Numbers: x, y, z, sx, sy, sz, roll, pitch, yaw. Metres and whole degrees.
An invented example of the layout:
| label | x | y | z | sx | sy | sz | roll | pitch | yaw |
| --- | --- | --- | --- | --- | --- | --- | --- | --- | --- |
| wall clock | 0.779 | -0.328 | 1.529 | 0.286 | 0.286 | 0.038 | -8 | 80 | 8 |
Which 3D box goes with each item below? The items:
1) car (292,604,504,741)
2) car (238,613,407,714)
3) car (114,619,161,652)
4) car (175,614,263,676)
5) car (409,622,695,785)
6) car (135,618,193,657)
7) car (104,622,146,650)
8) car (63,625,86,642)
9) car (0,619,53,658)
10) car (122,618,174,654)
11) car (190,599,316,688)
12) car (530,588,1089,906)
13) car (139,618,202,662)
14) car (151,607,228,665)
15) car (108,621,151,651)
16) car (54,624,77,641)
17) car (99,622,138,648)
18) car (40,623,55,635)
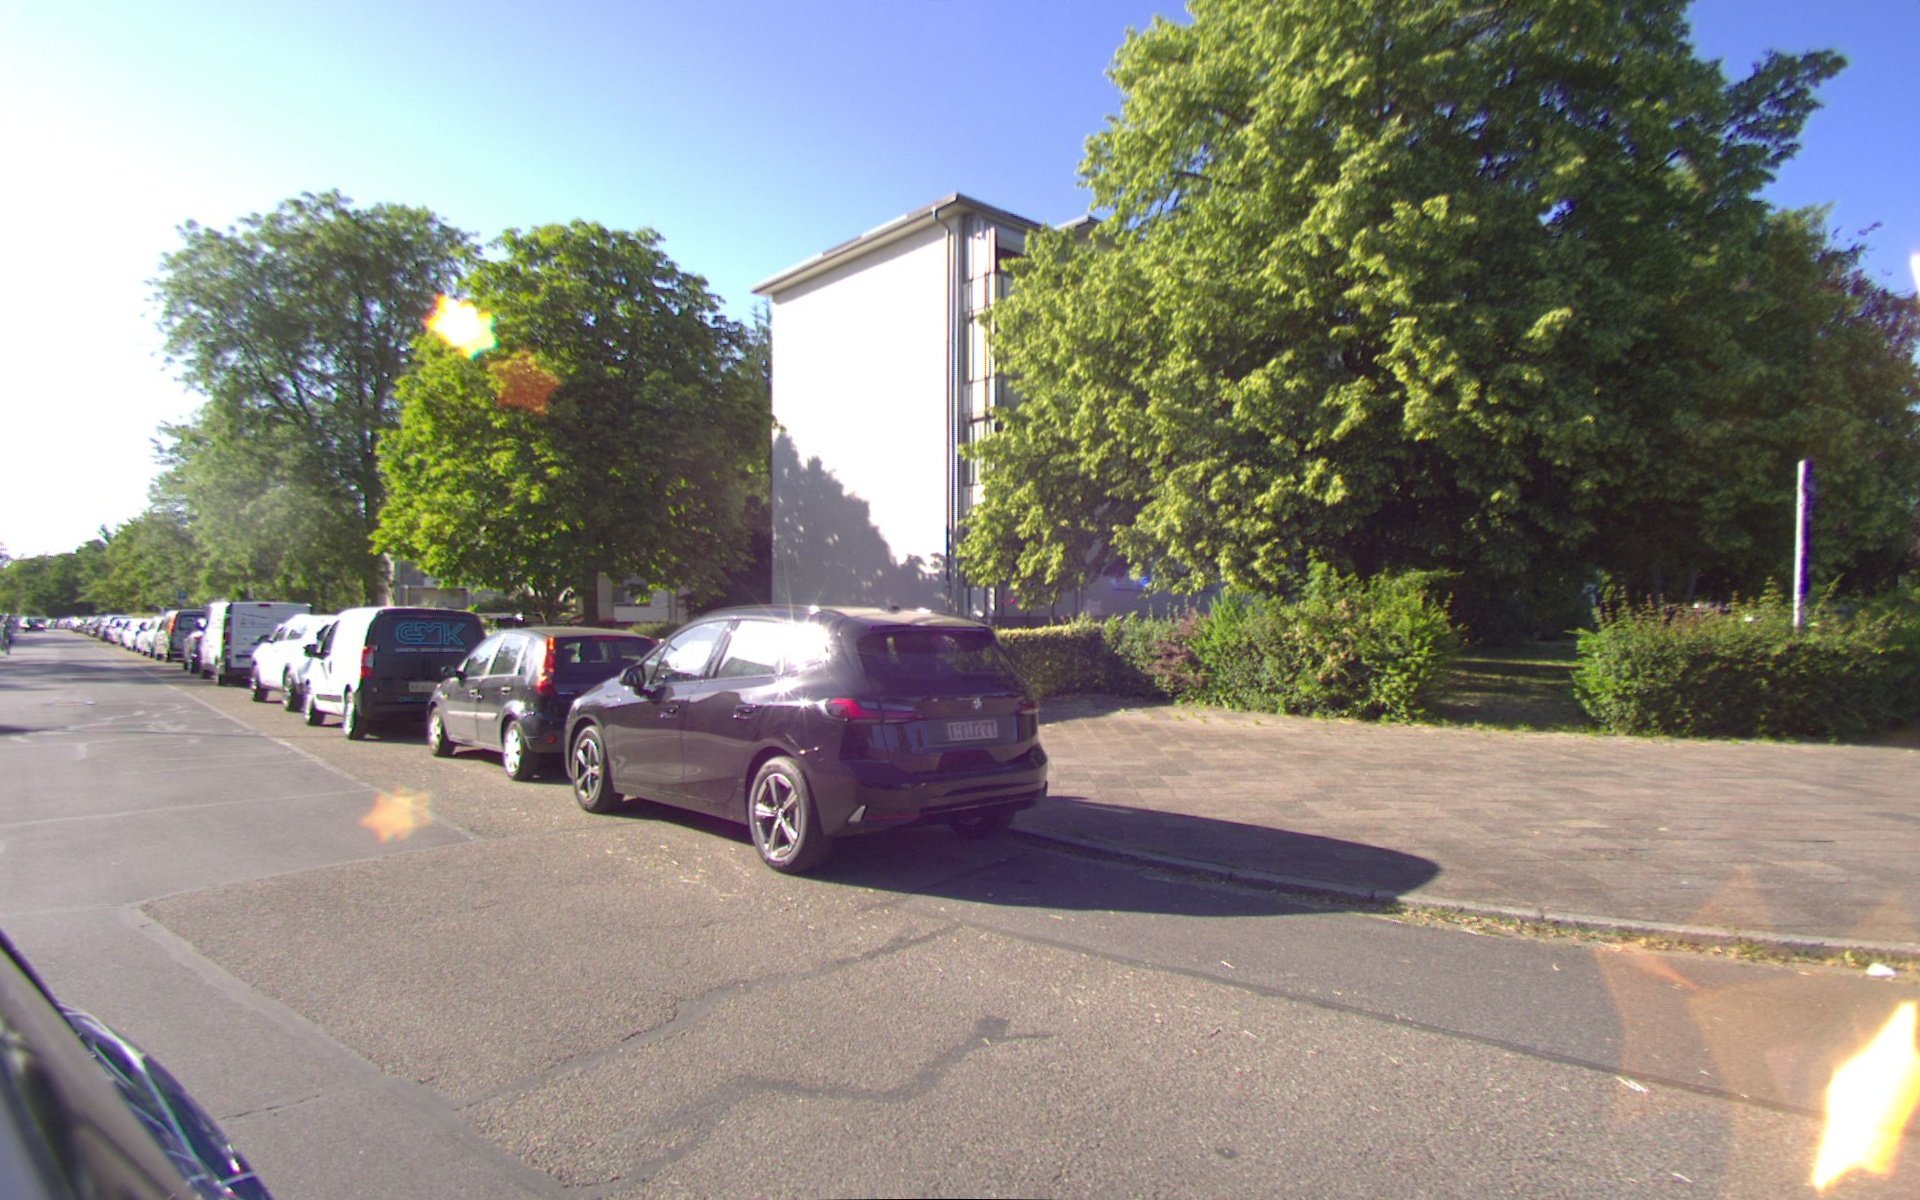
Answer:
| label | x | y | z | sx | sy | sz | roll | pitch | yaw |
| --- | --- | --- | --- | --- | --- | --- | --- | --- | --- |
| car | -8.145 | 0.977 | 14.530 | 1.791 | 1.695 | 3.652 | 4 | -4 | -42 |
| car | -11.792 | 1.115 | 18.620 | 1.708 | 1.652 | 4.172 | 4 | -4 | -45 |
| car | -43.148 | 1.841 | 53.087 | 1.609 | 1.641 | 3.559 | 4 | -4 | -43 |
| car | -21.480 | 1.298 | 29.285 | 1.706 | 1.652 | 3.818 | 4 | -4 | -40 |
| car | -4.497 | 0.997 | 10.902 | 1.604 | 1.448 | 3.657 | 4 | -4 | -43 |
| car | -34.922 | 1.654 | 44.377 | 1.609 | 1.641 | 3.559 | 4 | -4 | -43 |
| car | -50.052 | 2.164 | 60.642 | 1.609 | 1.641 | 3.559 | 4 | -4 | -43 |
| car | -89.399 | 3.339 | 102.177 | 1.609 | 1.641 | 3.559 | 4 | -4 | -43 |
| car | -40.732 | 1.642 | 44.113 | 1.707 | 1.608 | 3.816 | 0 | -1 | -43 |
| car | -39.076 | 1.732 | 48.675 | 1.609 | 1.641 | 3.559 | 4 | -4 | -43 |
| car | -17.320 | 1.060 | 24.719 | 1.882 | 1.956 | 4.516 | 4 | -4 | -42 |
| car | -1.352 | 0.823 | 7.302 | 1.759 | 1.586 | 4.428 | 4 | -4 | -43 |
| car | -31.535 | 1.587 | 40.404 | 1.609 | 1.641 | 3.559 | 4 | -4 | -43 |
| car | -27.595 | 1.291 | 36.209 | 1.707 | 1.968 | 3.816 | 4 | -4 | -43 |
| car | -47.516 | 2.081 | 57.878 | 1.609 | 1.641 | 3.559 | 4 | -4 | -43 |
| car | -94.375 | 3.434 | 106.771 | 1.609 | 1.641 | 3.559 | 4 | -4 | -43 |
| car | -53.980 | 2.240 | 64.899 | 1.609 | 1.641 | 3.559 | 4 | -4 | -43 |
| car | -137.969 | 4.367 | 153.026 | 1.609 | 1.651 | 3.569 | 4 | -4 | -43 |
